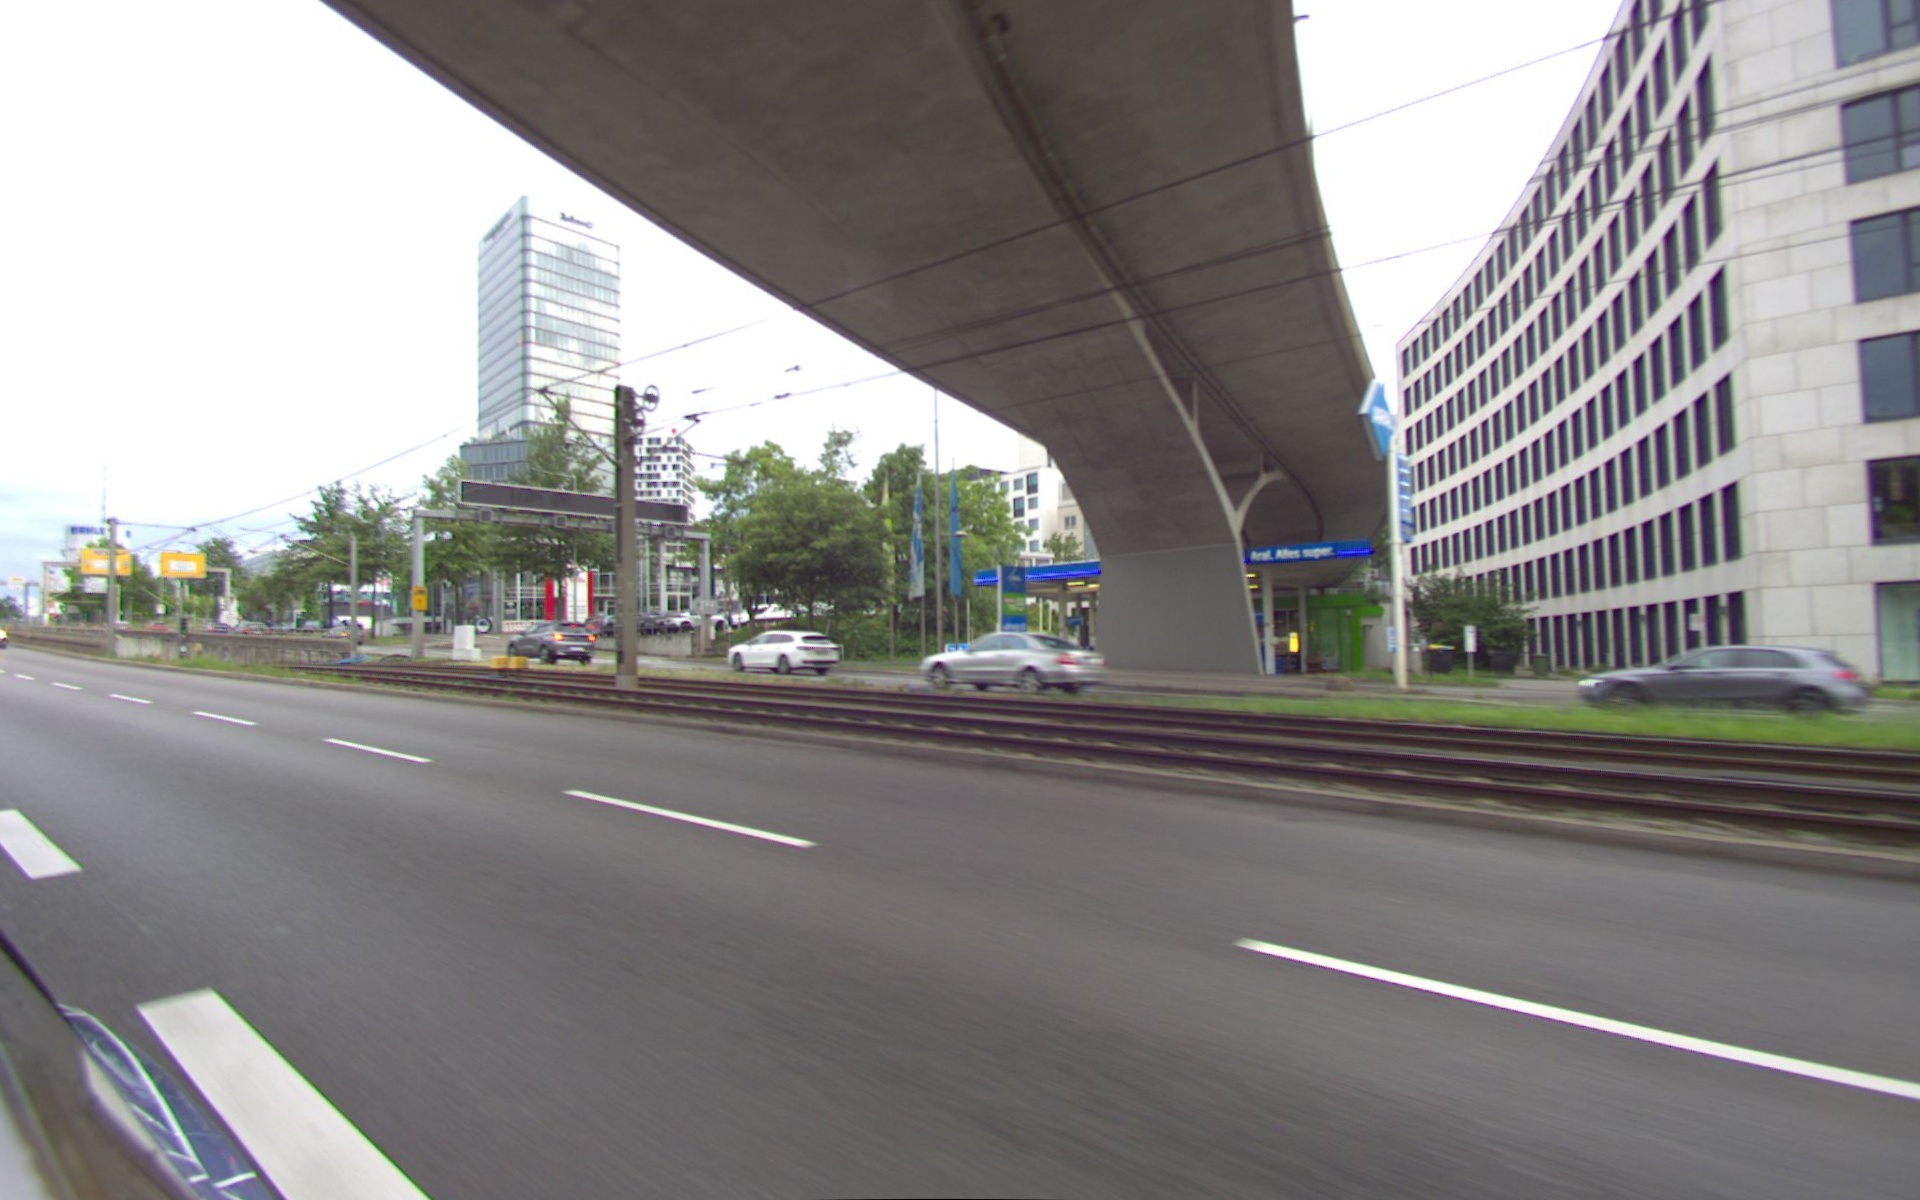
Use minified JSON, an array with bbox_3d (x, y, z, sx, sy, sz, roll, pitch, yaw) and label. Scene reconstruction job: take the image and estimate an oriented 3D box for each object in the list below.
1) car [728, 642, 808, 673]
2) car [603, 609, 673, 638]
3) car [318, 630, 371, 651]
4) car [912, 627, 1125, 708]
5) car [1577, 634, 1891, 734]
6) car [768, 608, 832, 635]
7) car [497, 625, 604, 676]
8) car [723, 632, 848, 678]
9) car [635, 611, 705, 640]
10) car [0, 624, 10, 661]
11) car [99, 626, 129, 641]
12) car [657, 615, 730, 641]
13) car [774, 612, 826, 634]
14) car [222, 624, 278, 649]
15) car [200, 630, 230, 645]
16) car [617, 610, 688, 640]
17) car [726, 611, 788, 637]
[{"bbox_3d":[-10.727,3.190,56.615,4.296,1.515,1.889,0,0,-10],"label":"car"},{"bbox_3d":[-22.549,1.625,70.969,4.303,1.962,1.886,0,0,-45],"label":"car"},{"bbox_3d":[-47.668,3.144,78.329,4.561,1.540,2.027,-2,-1,38],"label":"car"},{"bbox_3d":[1.219,1.464,22.933,4.792,1.610,1.745,-3,-1,44],"label":"car"},{"bbox_3d":[14.387,1.492,18.999,4.491,1.610,1.745,-3,-1,44],"label":"car"},{"bbox_3d":[-11.533,1.533,73.042,4.303,1.828,1.886,0,0,-45],"label":"car"},{"bbox_3d":[-15.349,1.872,37.839,4.220,1.790,1.901,-2,-1,40],"label":"car"},{"bbox_3d":[-6.190,1.944,35.579,4.657,1.509,1.899,-3,-5,44],"label":"car"},{"bbox_3d":[-19.404,1.676,67.877,4.138,1.785,1.886,0,0,-45],"label":"car"},{"bbox_3d":[-51.234,2.228,53.154,4.379,1.882,1.769,0,0,45],"label":"car"},{"bbox_3d":[-84.415,3.321,100.980,4.876,1.411,1.770,0,0,43],"label":"car"},{"bbox_3d":[-17.432,1.813,66.313,4.303,1.515,1.886,0,0,-45],"label":"car"},{"bbox_3d":[-12.926,1.842,81.893,3.863,1.605,1.803,0,0,-45],"label":"car"},{"bbox_3d":[-48.025,2.468,68.417,4.756,1.550,2.026,-3,-1,41],"label":"car"},{"bbox_3d":[-73.264,3.630,99.475,4.112,1.319,1.747,0,0,44],"label":"car"},{"bbox_3d":[-21.047,1.682,69.330,4.303,1.962,1.886,0,0,-45],"label":"car"},{"bbox_3d":[-15.319,1.762,76.459,4.303,1.828,1.886,0,0,-45],"label":"car"}]
